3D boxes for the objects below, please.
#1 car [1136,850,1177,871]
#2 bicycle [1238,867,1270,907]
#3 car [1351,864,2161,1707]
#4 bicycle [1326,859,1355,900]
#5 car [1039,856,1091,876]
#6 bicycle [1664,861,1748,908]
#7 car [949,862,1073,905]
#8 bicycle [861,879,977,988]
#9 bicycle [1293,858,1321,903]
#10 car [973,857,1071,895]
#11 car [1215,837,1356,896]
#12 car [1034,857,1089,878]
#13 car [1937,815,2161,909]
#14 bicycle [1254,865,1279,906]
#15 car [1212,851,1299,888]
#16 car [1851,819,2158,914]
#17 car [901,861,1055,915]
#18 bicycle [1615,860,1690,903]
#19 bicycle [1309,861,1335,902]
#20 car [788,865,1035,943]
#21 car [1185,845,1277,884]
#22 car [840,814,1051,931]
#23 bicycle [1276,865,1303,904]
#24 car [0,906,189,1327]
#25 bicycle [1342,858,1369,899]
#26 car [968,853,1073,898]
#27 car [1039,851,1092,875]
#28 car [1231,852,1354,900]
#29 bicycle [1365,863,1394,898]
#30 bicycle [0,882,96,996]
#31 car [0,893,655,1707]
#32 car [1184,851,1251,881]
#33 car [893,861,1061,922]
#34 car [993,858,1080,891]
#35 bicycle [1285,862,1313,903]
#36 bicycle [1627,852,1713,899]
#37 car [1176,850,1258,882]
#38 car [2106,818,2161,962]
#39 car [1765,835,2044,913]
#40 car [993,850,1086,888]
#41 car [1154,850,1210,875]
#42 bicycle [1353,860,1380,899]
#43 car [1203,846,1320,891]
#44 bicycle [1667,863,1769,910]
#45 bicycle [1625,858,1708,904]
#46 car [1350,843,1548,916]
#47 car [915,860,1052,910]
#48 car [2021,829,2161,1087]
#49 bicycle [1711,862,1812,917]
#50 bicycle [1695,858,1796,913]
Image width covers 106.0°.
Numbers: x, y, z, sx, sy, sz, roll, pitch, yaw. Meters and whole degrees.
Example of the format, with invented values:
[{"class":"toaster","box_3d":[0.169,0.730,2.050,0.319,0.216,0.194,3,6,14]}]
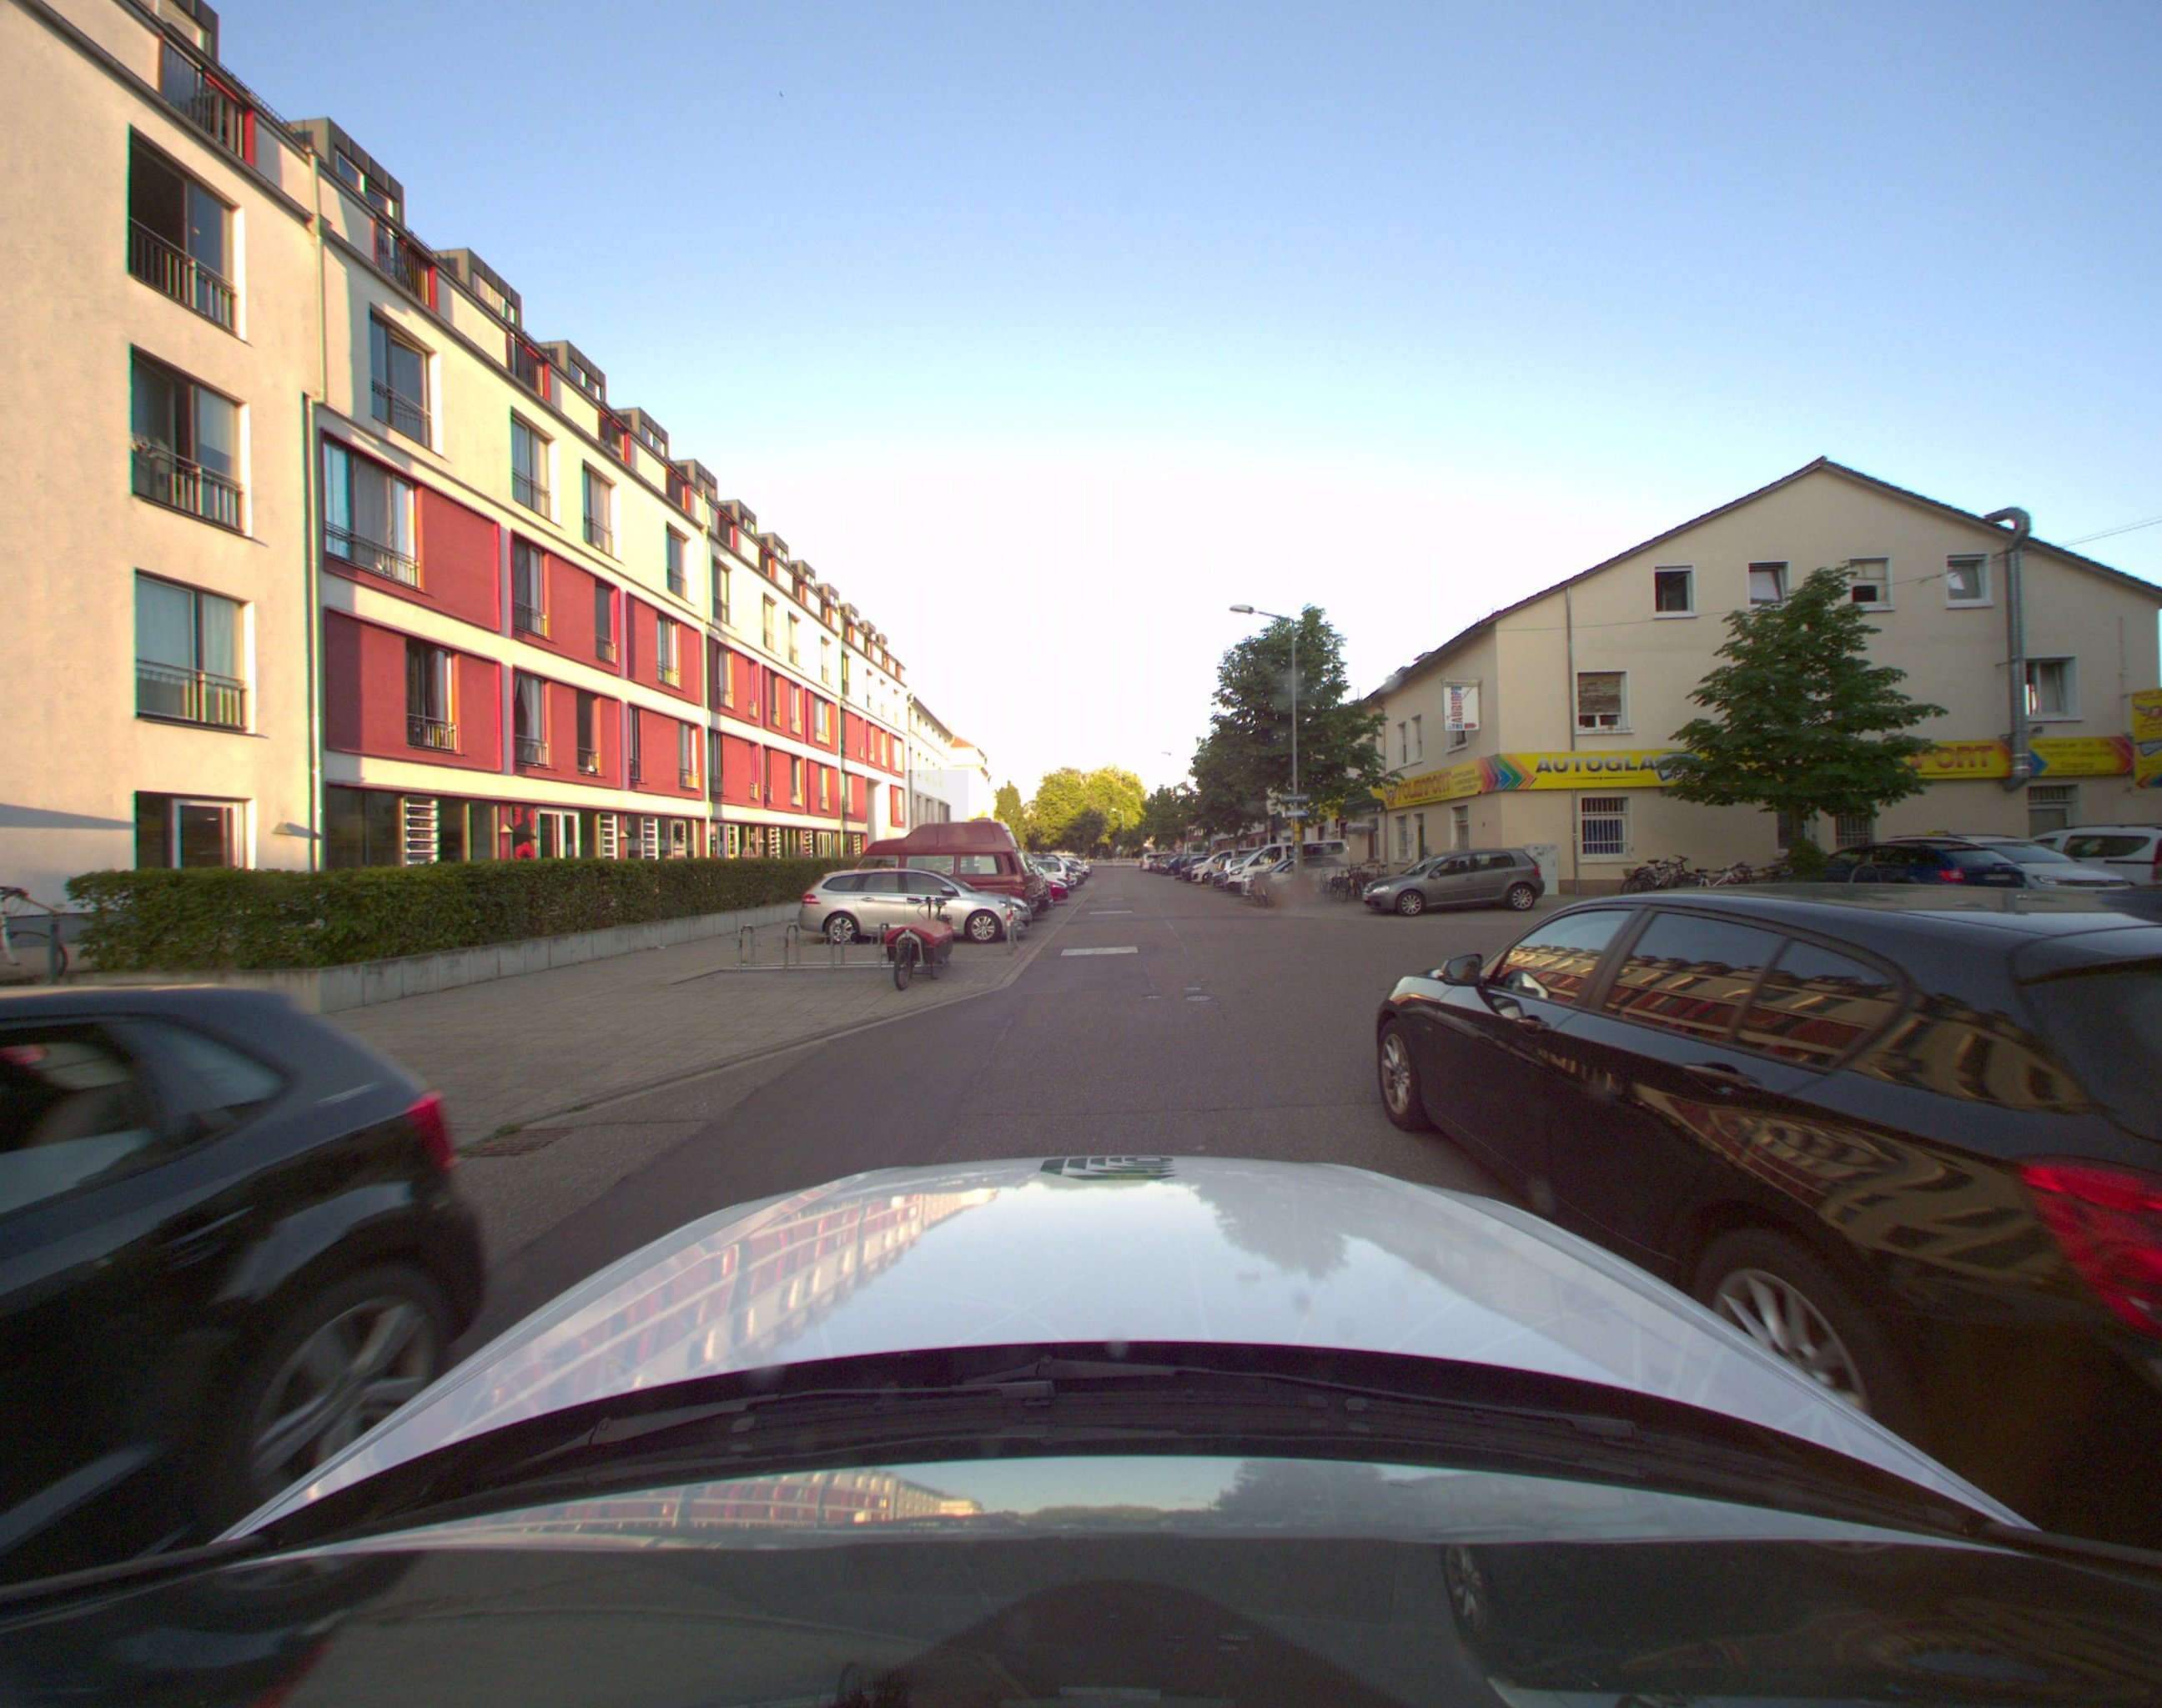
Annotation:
[{"class":"car","box_3d":[7.920,0.680,85.430,3.958,1.911,2.048,-3,-1,-2]},{"class":"bicycle","box_3d":[5.321,0.993,25.124,0.437,1.130,2.015,-3,0,-2]},{"class":"car","box_3d":[2.500,0.772,3.116,1.714,1.424,4.256,0,0,3]},{"class":"bicycle","box_3d":[7.977,0.779,25.031,0.443,1.200,1.482,-3,0,3]},{"class":"car","box_3d":[-1.348,1.028,69.937,4.239,1.749,2.001,0,0,2]},{"class":"bicycle","box_3d":[14.156,0.689,18.458,1.595,1.041,0.344,0,2,4]},{"class":"car","box_3d":[-2.456,1.040,29.244,4.191,1.490,1.851,0,0,3]},{"class":"bicycle","box_3d":[-2.118,0.993,11.145,0.804,1.221,2.869,0,0,4]},{"class":"bicycle","box_3d":[6.994,0.802,25.265,0.384,1.304,2.019,-3,0,3]},{"class":"car","box_3d":[-2.639,0.982,37.159,4.239,1.660,2.001,0,0,2]},{"class":"car","box_3d":[7.972,0.491,32.151,4.969,1.983,2.221,-3,-1,3]},{"class":"car","box_3d":[-1.540,1.070,65.165,4.239,1.714,2.001,0,0,2]},{"class":"car","box_3d":[22.825,0.203,18.660,1.865,1.902,4.334,-2,-2,2]},{"class":"bicycle","box_3d":[5.745,0.951,25.292,0.384,1.200,2.019,-3,0,3]},{"class":"car","box_3d":[8.537,0.756,40.116,3.895,1.526,1.941,-3,-1,3]},{"class":"car","box_3d":[20.518,0.209,18.476,1.865,1.831,4.580,-2,1,2]},{"class":"car","box_3d":[-3.005,0.973,24.218,4.185,1.538,1.846,0,0,8]},{"class":"bicycle","box_3d":[14.048,0.672,20.030,1.596,1.019,0.344,0,2,1]},{"class":"bicycle","box_3d":[7.405,0.824,25.089,0.384,1.200,1.482,-3,0,3]},{"class":"car","box_3d":[-3.282,0.967,16.504,4.601,1.460,1.880,0,0,-1]},{"class":"car","box_3d":[8.669,0.606,47.310,4.926,1.958,2.050,-3,-1,1]},{"class":"car","box_3d":[-3.061,0.414,19.080,4.491,2.584,2.002,0,0,4]},{"class":"bicycle","box_3d":[6.453,0.920,25.293,0.384,1.114,2.019,-3,0,3]},{"class":"car","box_3d":[-4.863,1.002,1.659,1.645,1.530,4.017,-1,0,0]},{"class":"bicycle","box_3d":[8.403,0.740,25.003,0.351,1.200,1.482,-3,0,3]},{"class":"car","box_3d":[-2.517,0.895,34.678,4.239,1.836,2.001,0,0,2]},{"class":"car","box_3d":[-1.361,0.786,72.582,4.515,2.134,2.001,0,0,2]},{"class":"car","box_3d":[7.564,0.762,29.376,3.905,1.451,1.768,-4,0,0]},{"class":"bicycle","box_3d":[9.175,0.810,25.094,0.386,1.017,1.482,-3,0,3]},{"class":"bicycle","box_3d":[-11.737,0.881,8.716,1.767,1.148,0.611,0,0,5]},{"class":"car","box_3d":[-2.700,0.930,1.123,1.643,1.455,3.951,-4,-1,8]},{"class":"car","box_3d":[9.548,0.841,57.136,4.301,1.804,1.811,-3,-1,1]},{"class":"car","box_3d":[-2.679,0.962,21.632,4.194,1.538,1.791,0,0,1]},{"class":"car","box_3d":[-2.231,1.018,41.504,4.239,1.652,1.889,0,0,2]},{"class":"bicycle","box_3d":[6.734,0.854,25.267,0.384,1.200,2.019,-3,0,3]},{"class":"bicycle","box_3d":[14.791,0.540,20.480,1.852,1.149,0.344,0,2,4]},{"class":"car","box_3d":[8.666,0.756,52.261,4.926,1.689,2.077,-3,-1,1]},{"class":"car","box_3d":[14.716,0.344,9.000,4.303,1.672,1.879,-2,-2,1]},{"class":"car","box_3d":[18.294,0.420,18.479,1.735,1.509,4.573,-2,-1,1]},{"class":"car","box_3d":[-2.174,0.802,44.063,4.831,2.021,1.908,0,0,2]},{"class":"car","box_3d":[8.636,0.728,69.838,4.467,1.911,1.686,-3,-1,-2]},{"class":"bicycle","box_3d":[8.768,0.770,25.067,0.351,1.143,1.482,-3,0,3]},{"class":"car","box_3d":[8.244,0.669,37.492,4.923,1.742,2.051,-3,-1,3]},{"class":"bicycle","box_3d":[14.004,0.712,17.936,1.841,1.010,0.428,0,2,4]},{"class":"bicycle","box_3d":[14.128,0.647,19.677,1.724,1.070,0.344,0,2,1]},{"class":"car","box_3d":[8.893,0.595,19.944,4.033,1.514,1.758,-3,1,3]},{"class":"car","box_3d":[-3.086,0.982,26.485,4.194,1.575,2.000,0,0,1]},{"class":"car","box_3d":[6.817,0.541,2.961,1.719,1.424,4.425,-3,0,2]},{"class":"bicycle","box_3d":[14.062,0.732,16.846,1.847,1.075,0.427,-1,2,-6]},{"class":"bicycle","box_3d":[14.071,0.654,17.243,1.915,1.128,0.427,-1,0,-6]}]
